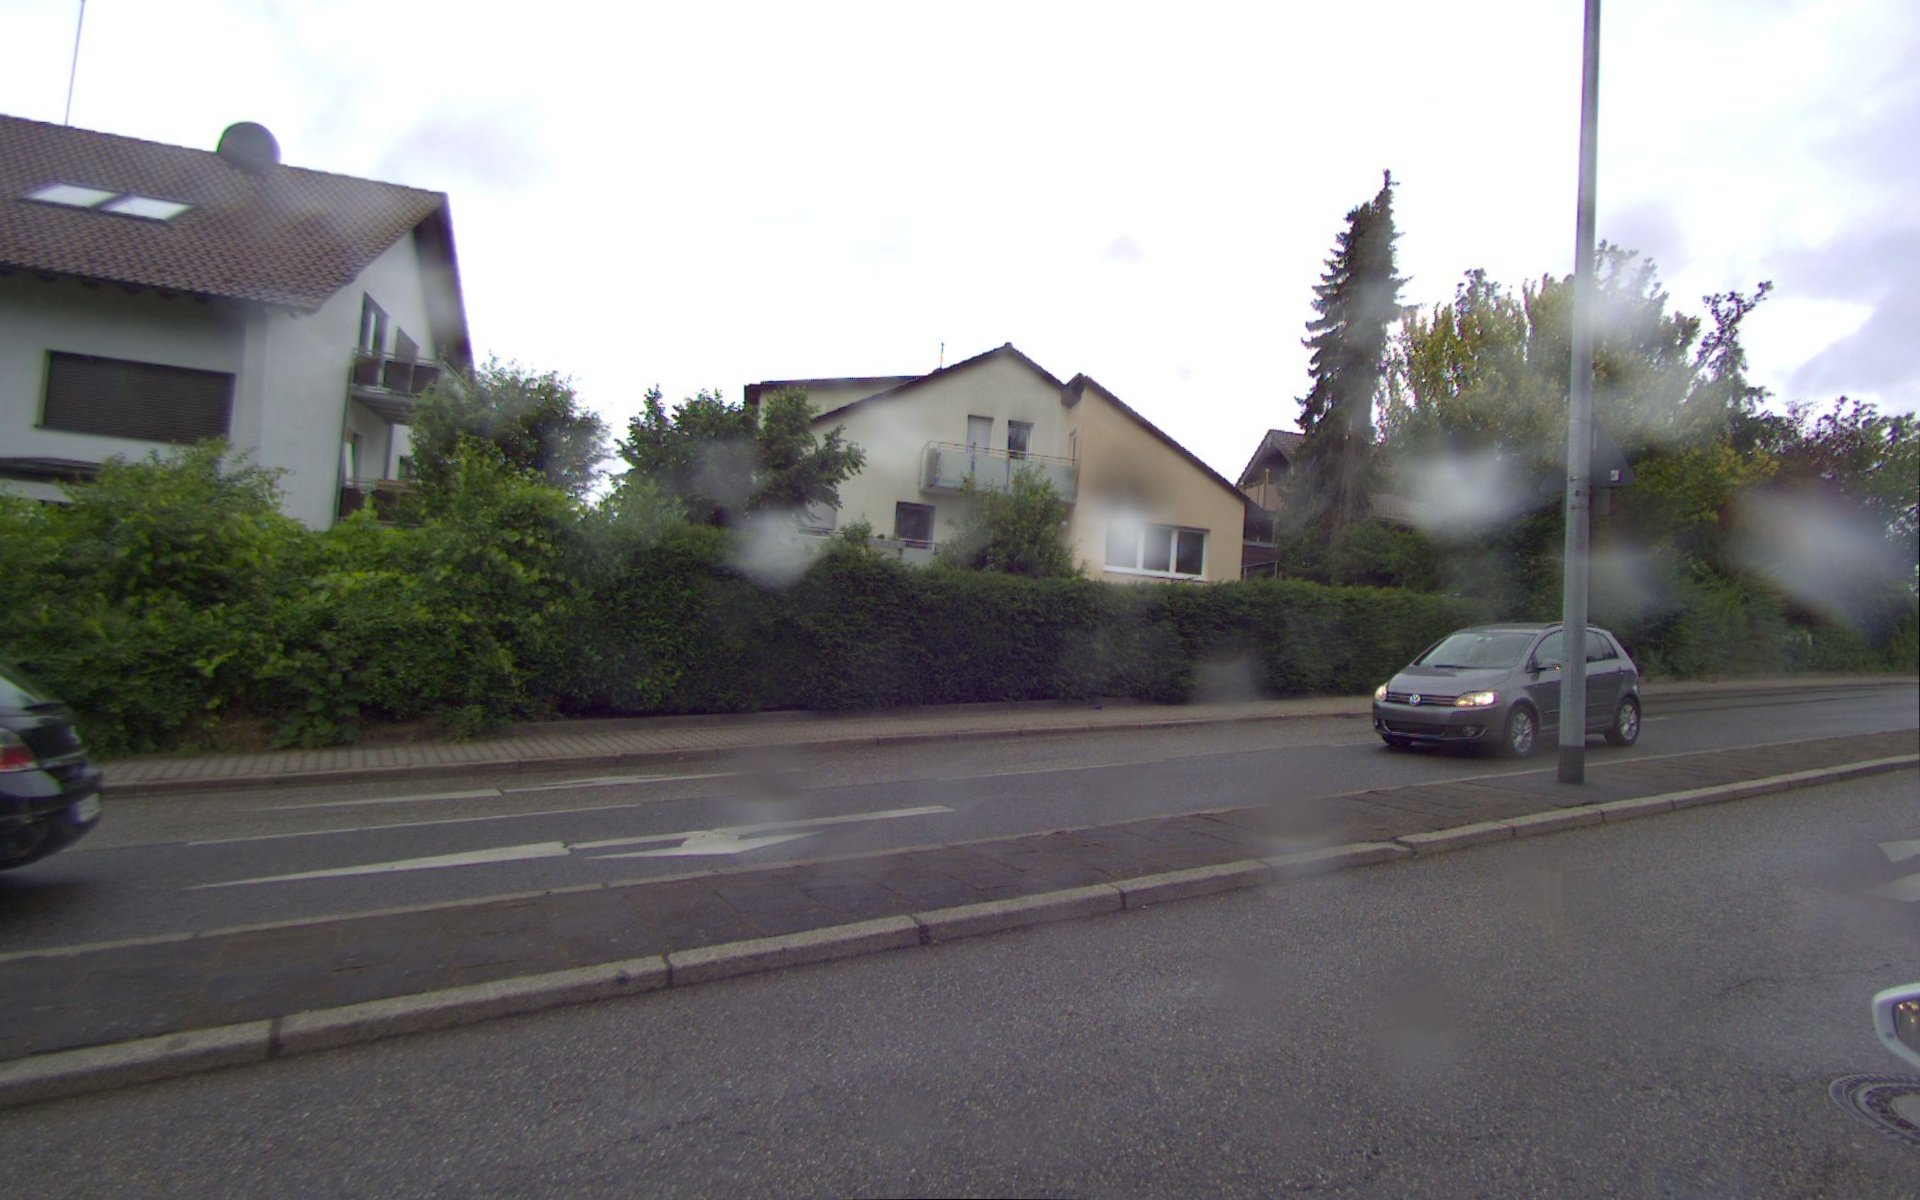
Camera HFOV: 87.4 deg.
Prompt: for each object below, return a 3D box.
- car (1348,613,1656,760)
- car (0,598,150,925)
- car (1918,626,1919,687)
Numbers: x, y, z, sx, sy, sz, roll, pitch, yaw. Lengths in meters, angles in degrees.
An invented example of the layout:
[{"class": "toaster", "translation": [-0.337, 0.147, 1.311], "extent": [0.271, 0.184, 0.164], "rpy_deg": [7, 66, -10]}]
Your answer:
[{"class": "car", "translation": [7.004, 1.036, 12.901], "extent": [3.987, 1.623, 1.733], "rpy_deg": [1, -3, -32]}, {"class": "car", "translation": [-6.432, 0.747, 4.611], "extent": [3.956, 1.529, 1.885], "rpy_deg": [2, -3, -32]}, {"class": "car", "translation": [11.024, 1.040, 9.401], "extent": [4.280, 1.547, 1.983], "rpy_deg": [2, -4, -32]}]
